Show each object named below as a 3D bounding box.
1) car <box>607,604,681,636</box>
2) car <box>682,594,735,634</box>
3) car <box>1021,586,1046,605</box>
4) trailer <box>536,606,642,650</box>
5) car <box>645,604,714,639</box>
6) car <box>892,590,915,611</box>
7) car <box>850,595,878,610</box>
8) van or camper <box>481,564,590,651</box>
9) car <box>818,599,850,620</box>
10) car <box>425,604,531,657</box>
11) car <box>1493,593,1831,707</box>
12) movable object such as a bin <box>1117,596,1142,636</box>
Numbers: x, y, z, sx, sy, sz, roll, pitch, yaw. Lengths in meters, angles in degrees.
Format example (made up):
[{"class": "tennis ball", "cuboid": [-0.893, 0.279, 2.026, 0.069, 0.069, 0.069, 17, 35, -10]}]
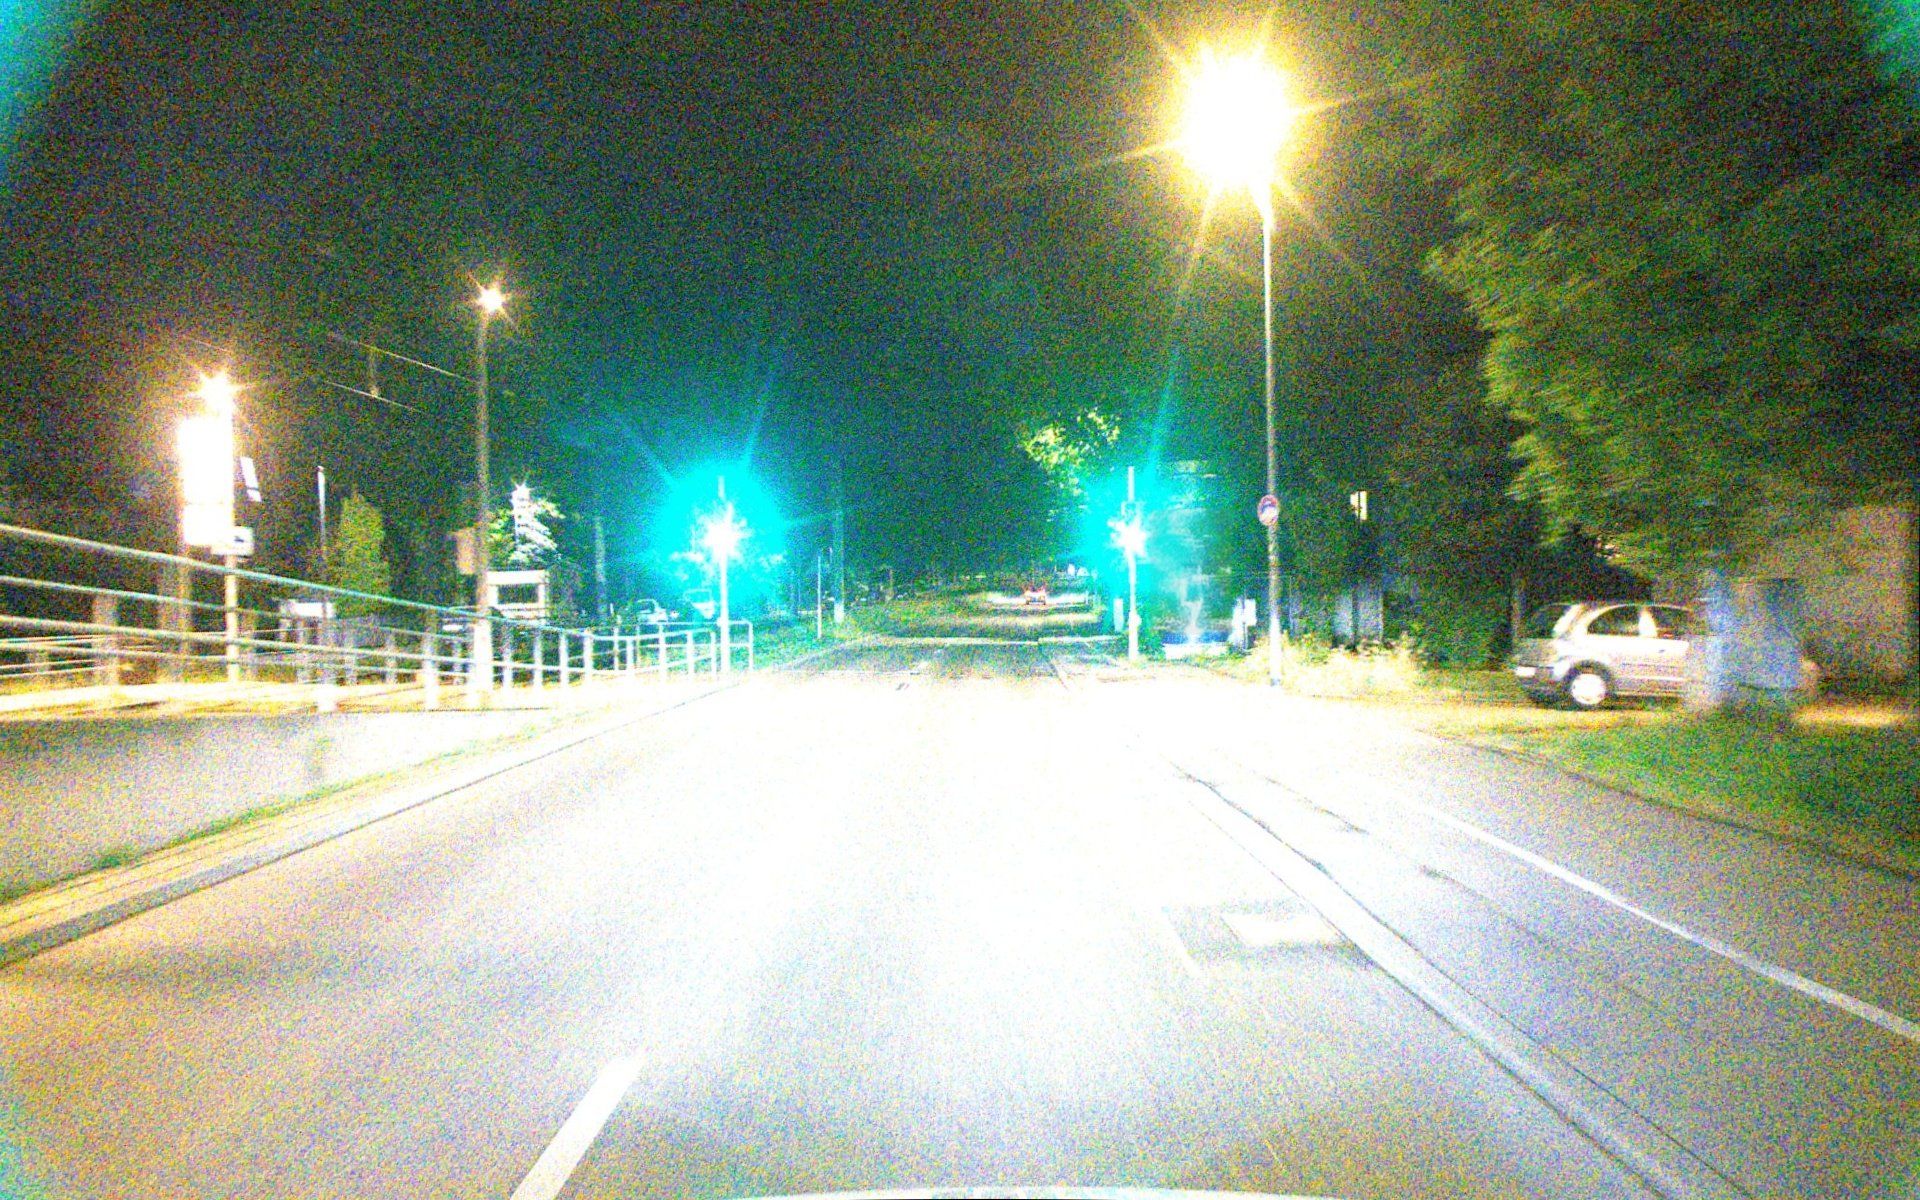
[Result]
[{"class": "car", "cuboid": [-13.754, 0.859, 72.116, 2.967, 1.349, 1.533, -1, 0, -2]}, {"class": "car", "cuboid": [-12.687, 0.680, 83.669, 1.819, 1.937, 4.880, -1, 0, 1]}, {"class": "car", "cuboid": [6.583, -0.395, 147.833, 2.117, 1.610, 4.013, 0, 0, 0]}, {"class": "trailer", "cuboid": [-14.180, 1.043, 63.503, 2.368, 1.398, 4.659, -5, 0, 8]}, {"class": "car", "cuboid": [-13.126, 0.969, 77.598, 1.861, 1.549, 5.175, -1, 0, 6]}, {"class": "car", "cuboid": [-6.182, 0.040, 182.068, 2.048, 2.048, 4.002, -5, 0, 3]}, {"class": "car", "cuboid": [-8.744, 0.221, 151.439, 1.952, 1.361, 5.434, -1, 0, 3]}, {"class": "van or camper", "cuboid": [-14.435, 0.233, 56.638, 2.226, 2.693, 5.663, -3, 0, -1]}, {"class": "car", "cuboid": [-9.997, 0.732, 131.931, 1.952, 1.656, 4.679, -1, 0, 3]}, {"class": "car", "cuboid": [-14.561, 0.883, 50.208, 1.612, 1.362, 4.544, -5, 0, 2]}, {"class": "car", "cuboid": [9.208, 0.632, 21.931, 3.686, 1.378, 1.859, -1, 0, 1]}, {"class": "movable object such as a bin", "cuboid": [5.237, 0.499, 51.036, 0.708, 1.222, 0.720, -1, 0, 10]}]
